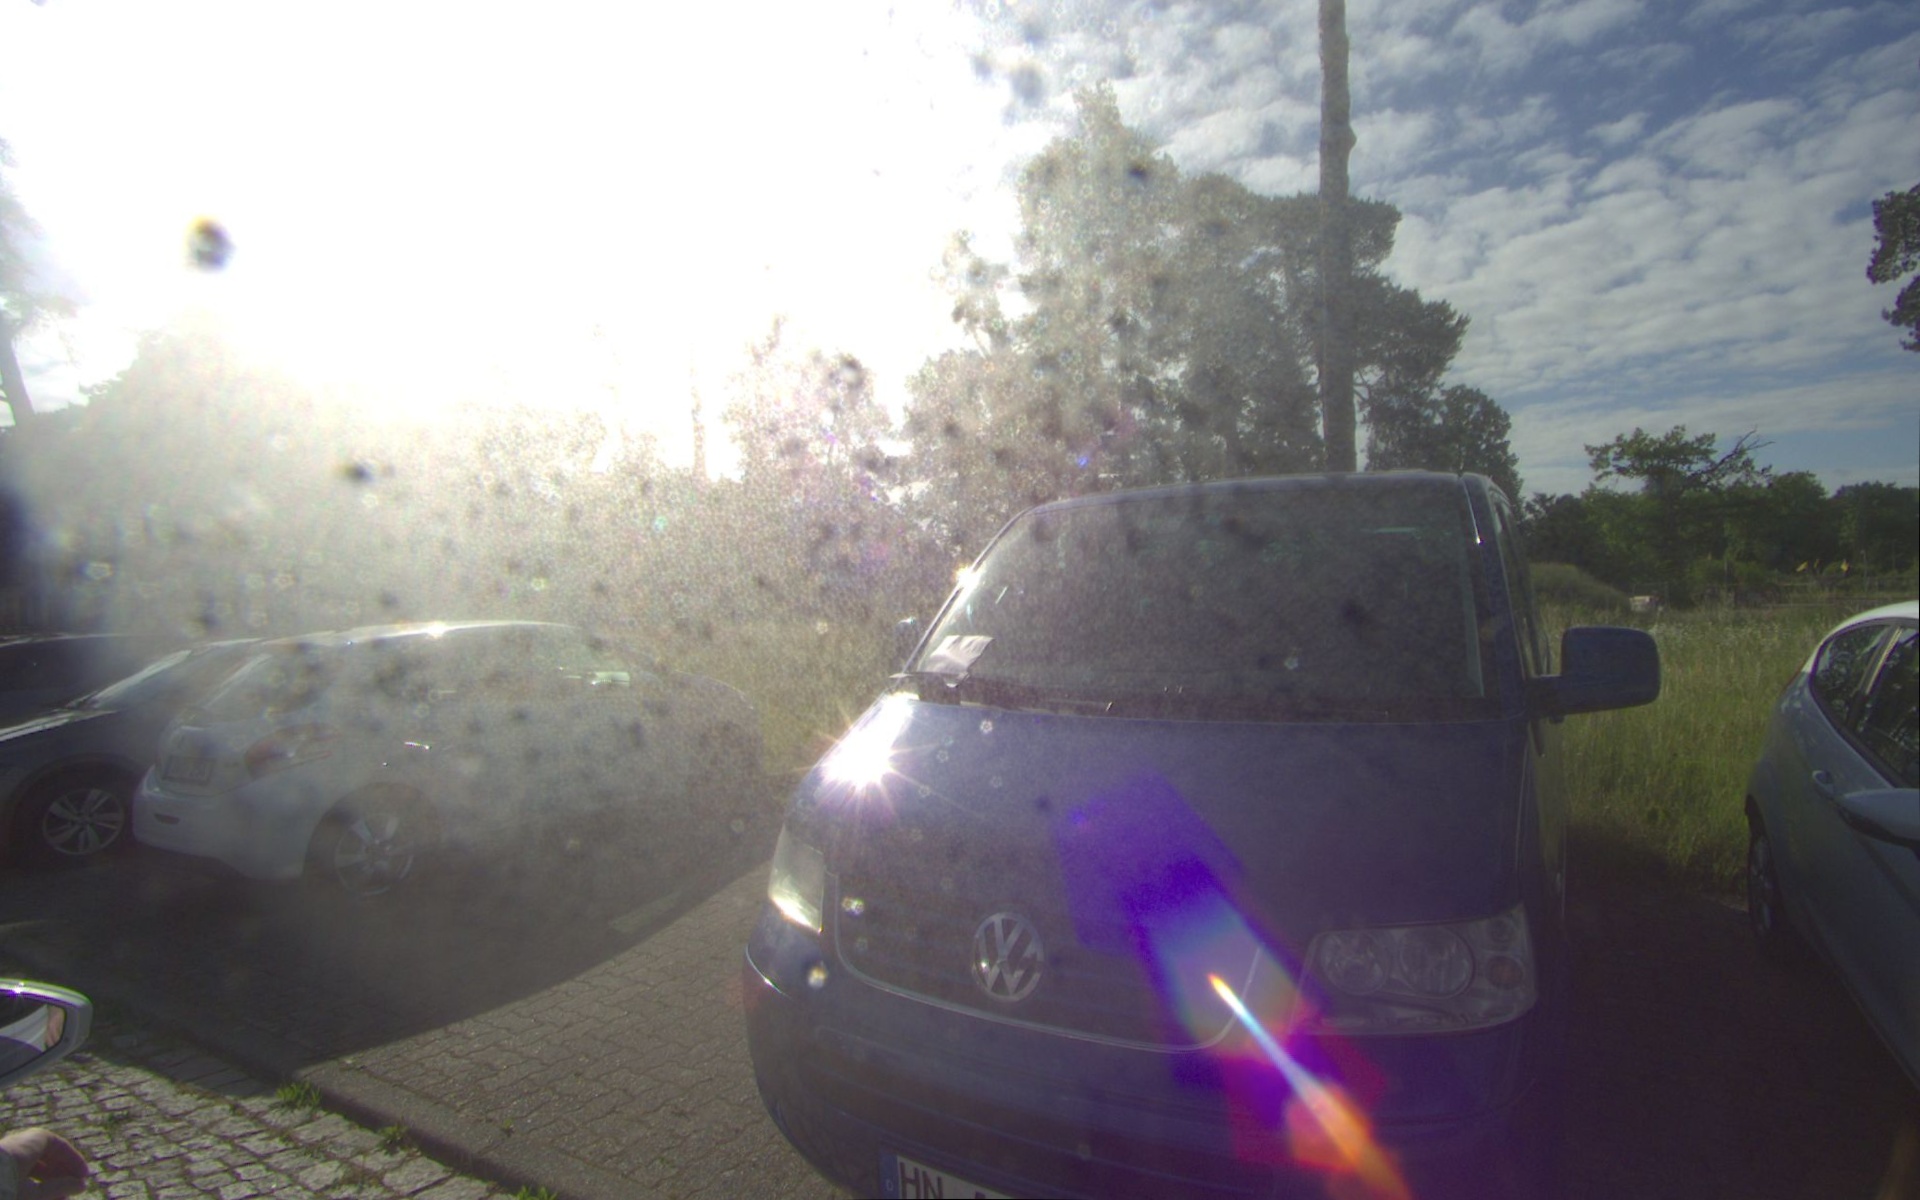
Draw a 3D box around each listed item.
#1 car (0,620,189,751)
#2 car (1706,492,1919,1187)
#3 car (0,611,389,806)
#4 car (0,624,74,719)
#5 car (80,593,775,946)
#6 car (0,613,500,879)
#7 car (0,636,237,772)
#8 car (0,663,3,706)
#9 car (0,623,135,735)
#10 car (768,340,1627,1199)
[{"bbox_3d":[-12.203,1.074,12.195,1.613,1.468,4.118,-1,1,32],"label":"car"},{"bbox_3d":[3.705,0.493,2.976,1.911,1.598,4.388,-1,1,31],"label":"car"},{"bbox_3d":[-7.963,0.926,9.788,1.790,1.468,3.699,-1,1,31],"label":"car"},{"bbox_3d":[-16.266,1.179,14.715,1.613,1.434,4.549,-1,1,32],"label":"car"},{"bbox_3d":[-3.159,0.792,6.688,1.736,1.555,3.698,-1,2,32],"label":"car"},{"bbox_3d":[-5.833,0.921,7.768,1.829,1.468,3.698,-1,1,32],"label":"car"},{"bbox_3d":[-10.337,1.127,10.812,1.721,1.240,3.698,-1,1,32],"label":"car"},{"bbox_3d":[-18.499,1.214,16.316,1.613,1.434,3.873,-1,1,32],"label":"car"},{"bbox_3d":[-14.018,1.130,13.261,1.755,1.434,4.421,-1,1,32],"label":"car"},{"bbox_3d":[1.531,0.482,4.313,1.971,1.961,4.688,-1,1,31],"label":"car"}]
